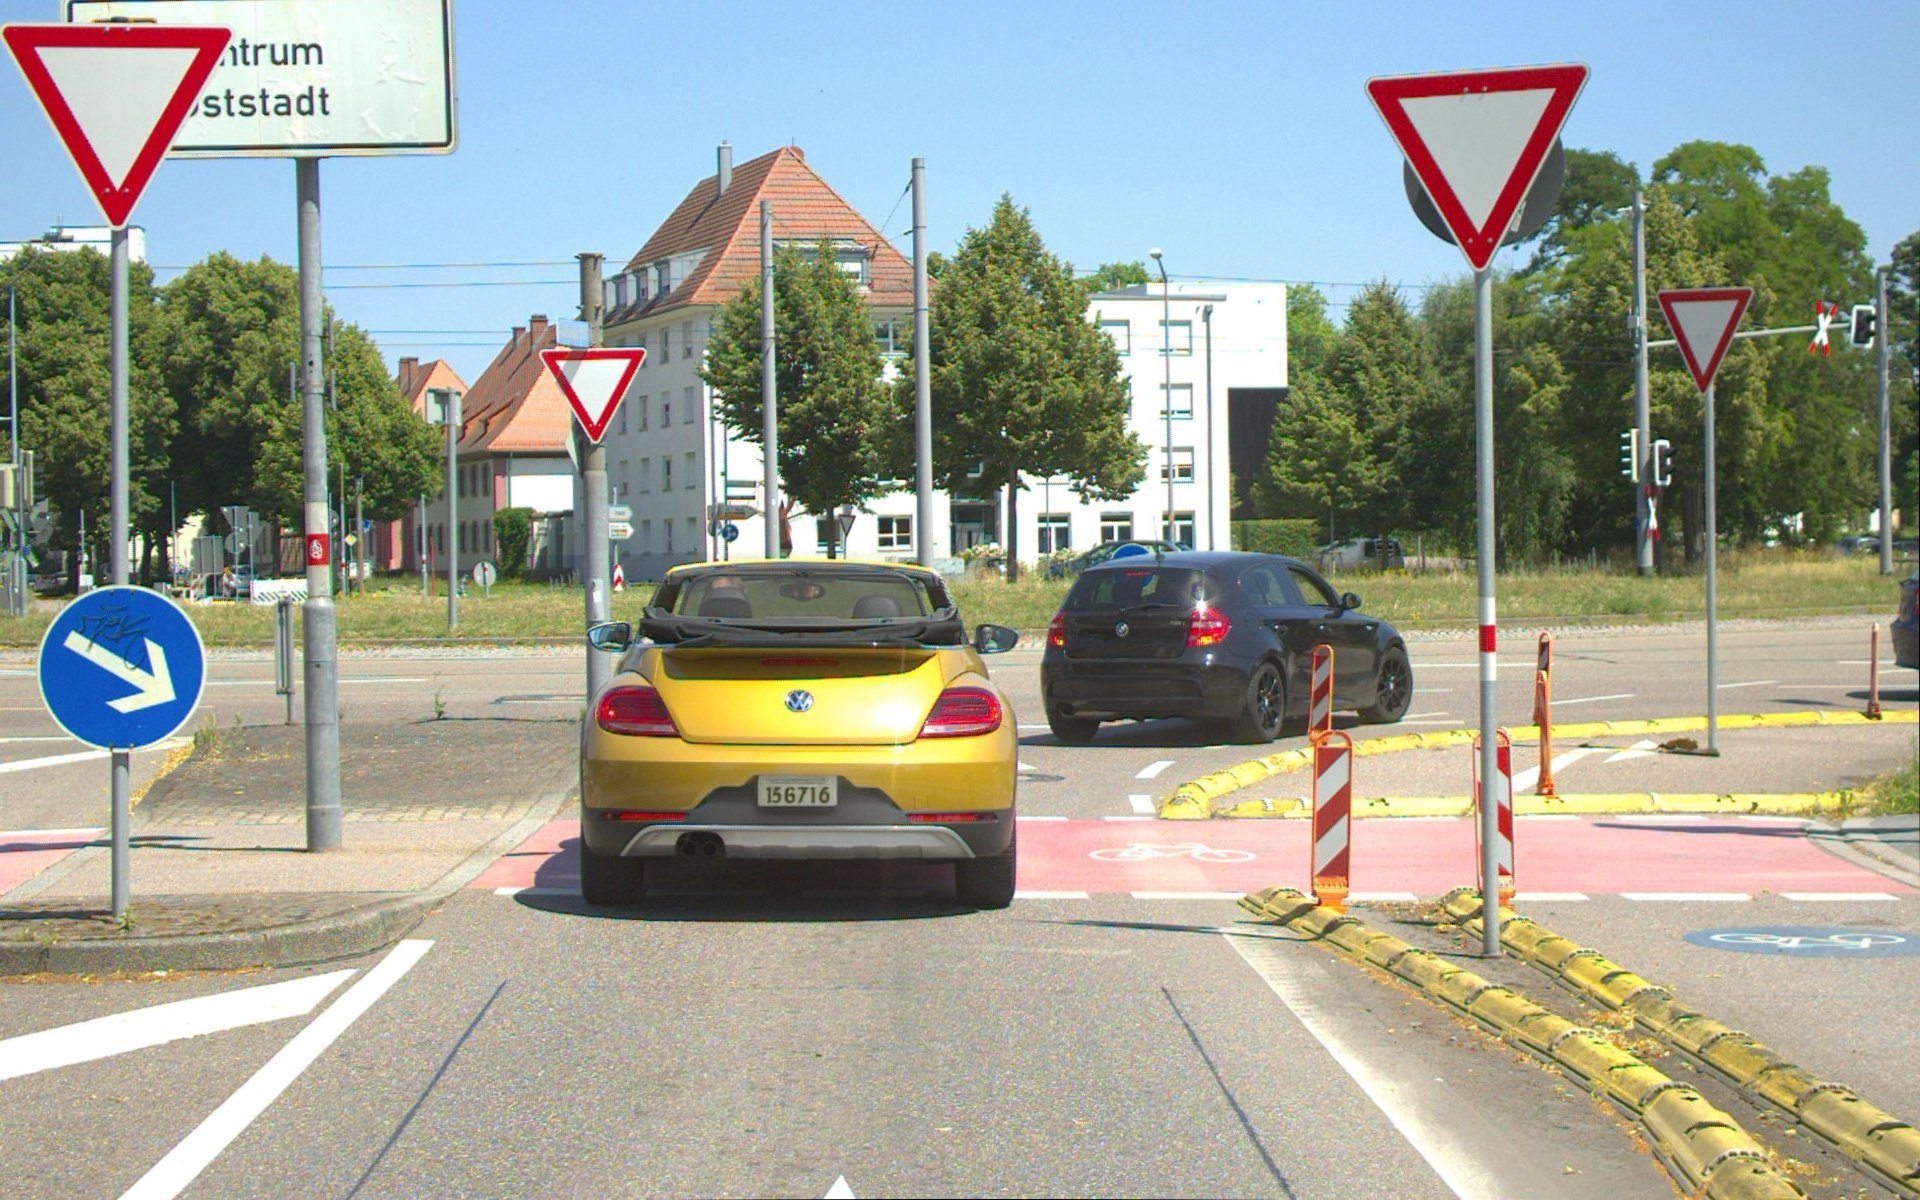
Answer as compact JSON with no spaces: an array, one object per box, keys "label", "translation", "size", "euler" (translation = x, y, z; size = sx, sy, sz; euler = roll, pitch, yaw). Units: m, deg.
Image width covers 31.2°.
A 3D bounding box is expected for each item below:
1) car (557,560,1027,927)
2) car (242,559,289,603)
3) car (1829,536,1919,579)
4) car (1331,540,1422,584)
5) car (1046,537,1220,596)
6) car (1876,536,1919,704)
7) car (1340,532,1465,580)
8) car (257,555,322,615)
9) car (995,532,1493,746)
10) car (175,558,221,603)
[{"label":"car","translation":[-0.680,0.537,15.190],"size":[1.825,1.398,3.662],"euler":[0,1,-1]},{"label":"car","translation":[-32.277,-0.867,159.724],"size":[1.993,2.007,4.001],"euler":[1,0,-13]},{"label":"car","translation":[35.245,-1.607,130.285],"size":[3.995,1.568,1.996],"euler":[1,0,35]},{"label":"car","translation":[19.417,-1.757,160.287],"size":[3.989,2.007,1.999],"euler":[1,0,14]},{"label":"car","translation":[4.450,-0.862,88.412],"size":[3.992,1.459,1.997],"euler":[1,0,26]},{"label":"car","translation":[10.065,0.127,29.590],"size":[4.069,1.398,1.753],"euler":[-1,2,10]},{"label":"car","translation":[15.816,-1.563,122.902],"size":[3.986,1.678,2.001],"euler":[0,0,-13]},{"label":"car","translation":[-22.848,-0.524,117.091],"size":[1.993,2.007,4.001],"euler":[1,0,-13]},{"label":"car","translation":[2.235,0.231,26.188],"size":[1.801,1.435,3.991],"euler":[1,2,40]},{"label":"car","translation":[-34.828,-0.874,157.082],"size":[1.993,2.007,4.001],"euler":[1,0,-13]}]
